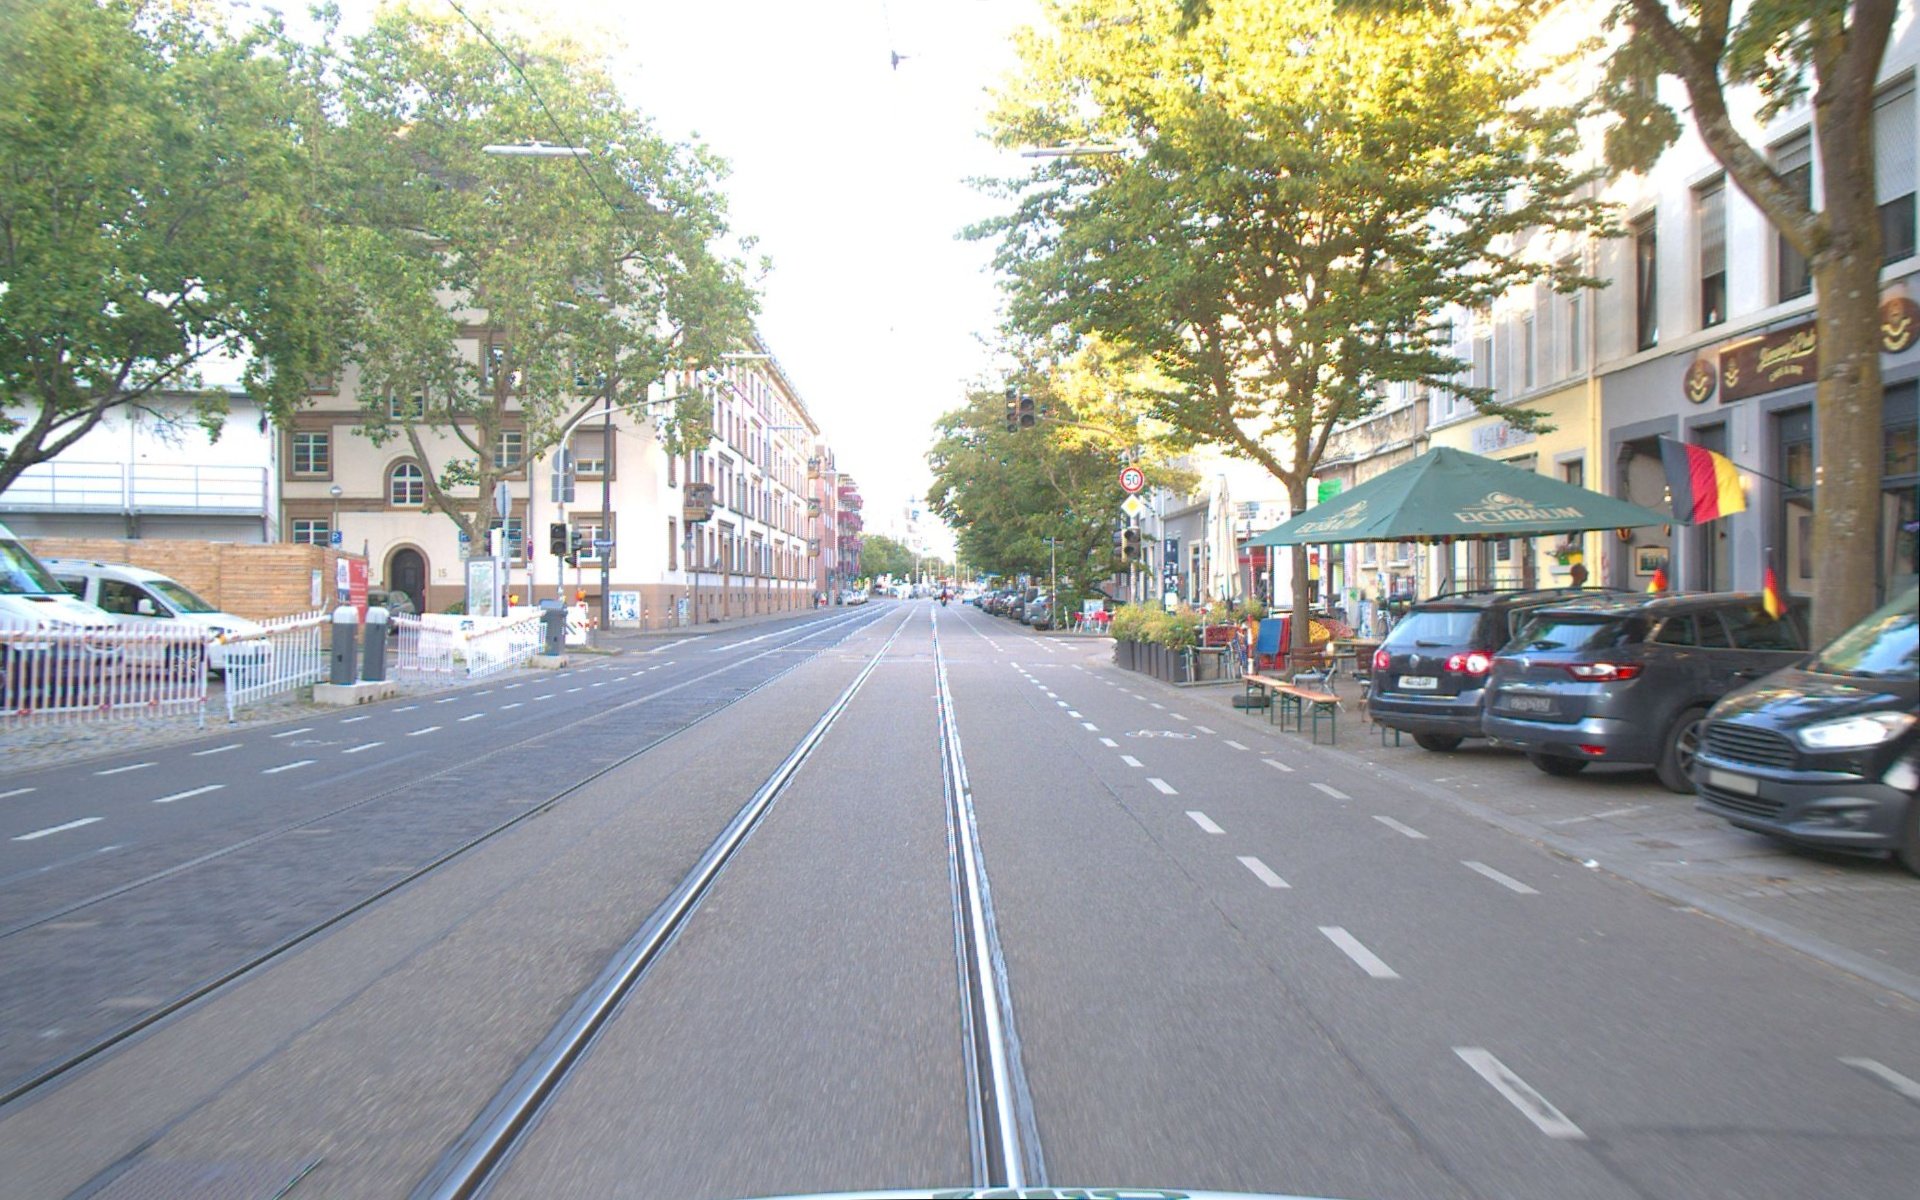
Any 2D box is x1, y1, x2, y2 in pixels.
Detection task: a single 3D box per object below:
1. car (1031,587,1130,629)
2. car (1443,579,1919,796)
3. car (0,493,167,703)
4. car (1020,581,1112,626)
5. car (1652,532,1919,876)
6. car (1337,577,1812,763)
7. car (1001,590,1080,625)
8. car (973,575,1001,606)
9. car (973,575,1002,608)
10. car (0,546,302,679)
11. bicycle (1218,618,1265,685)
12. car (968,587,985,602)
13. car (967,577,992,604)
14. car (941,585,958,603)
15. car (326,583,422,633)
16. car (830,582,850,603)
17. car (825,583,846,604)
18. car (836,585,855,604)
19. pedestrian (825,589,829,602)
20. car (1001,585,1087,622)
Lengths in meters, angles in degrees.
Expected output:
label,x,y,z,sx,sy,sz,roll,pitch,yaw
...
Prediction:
label,x,y,z,sx,sy,sz,roll,pitch,yaw
car,4.723,0.307,65.222,3.808,1.620,1.861,0,0,0
car,6.258,0.611,13.366,4.109,1.488,1.999,-1,0,-17
car,-13.635,-0.116,21.685,5.293,2.603,2.225,2,1,-4
car,4.510,0.160,70.596,3.808,1.880,1.861,0,0,0
car,6.332,0.503,9.549,3.937,1.737,1.815,-1,0,-8
car,5.905,0.595,15.901,4.123,1.524,1.992,-1,0,-26
car,3.965,0.380,81.731,3.808,1.690,1.861,0,0,0
car,1.852,-0.670,113.447,1.768,2.049,3.999,1,0,-1
car,1.717,-0.538,104.152,1.686,2.049,3.999,1,0,-1
car,-13.900,0.168,27.528,4.921,1.979,2.228,2,1,3
bicycle,4.592,0.822,27.042,0.410,1.033,1.829,1,0,-1
car,2.038,-0.705,201.492,1.923,1.748,3.999,1,0,-1
car,1.489,-0.735,127.220,1.859,2.049,3.999,1,0,-1
car,-1.256,-0.654,190.207,1.859,2.049,3.999,1,0,-1
car,-20.017,0.262,56.629,1.873,1.668,4.117,0,0,-1
car,-12.649,-0.820,175.118,1.859,2.216,3.999,1,0,-1
car,-12.824,-0.672,170.469,1.859,2.049,3.999,1,0,-1
car,-12.492,-0.605,180.678,1.859,2.049,3.999,1,0,-1
pedestrian,-11.166,-0.355,138.995,0.288,1.129,0.252,0,0,-6
car,3.794,0.163,75.209,3.808,1.690,1.861,0,0,0
